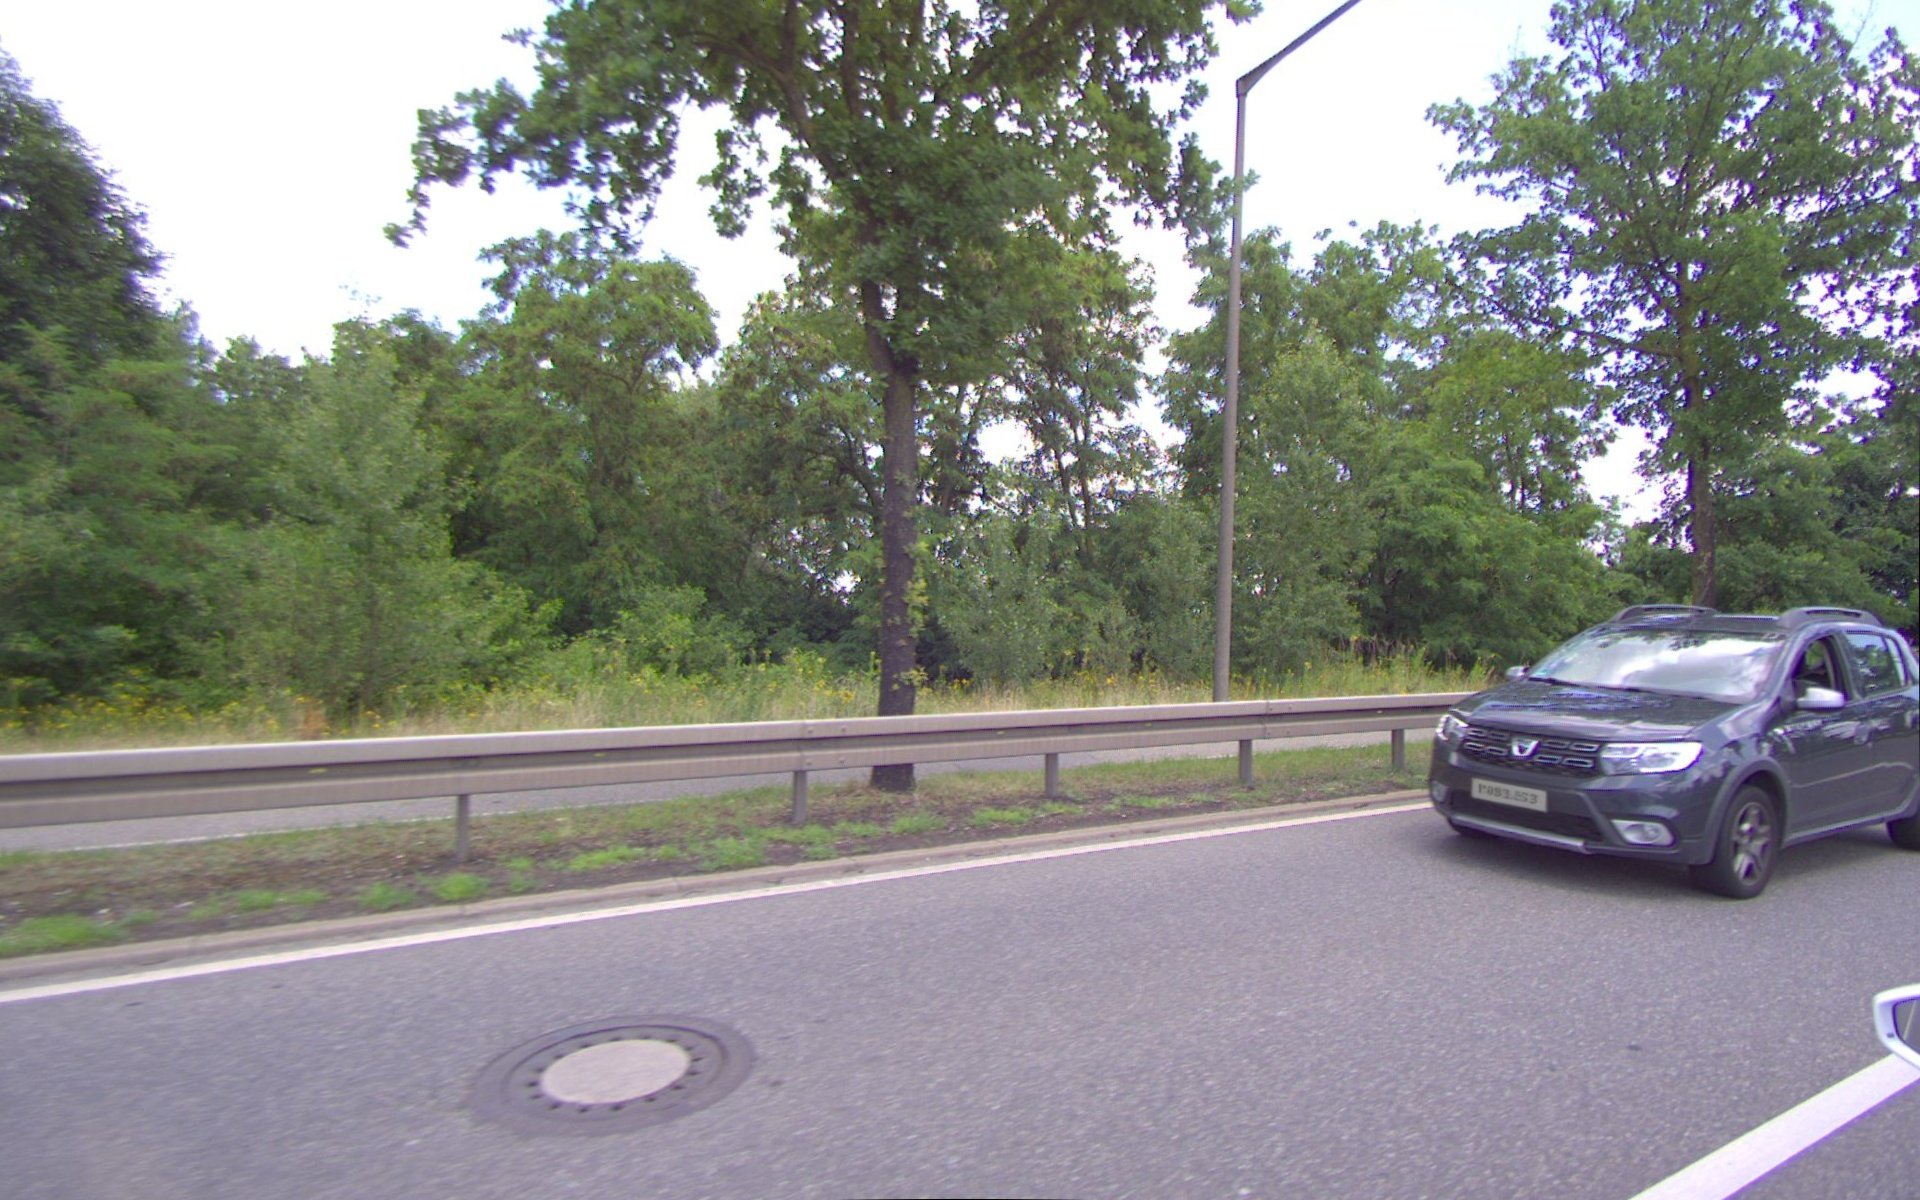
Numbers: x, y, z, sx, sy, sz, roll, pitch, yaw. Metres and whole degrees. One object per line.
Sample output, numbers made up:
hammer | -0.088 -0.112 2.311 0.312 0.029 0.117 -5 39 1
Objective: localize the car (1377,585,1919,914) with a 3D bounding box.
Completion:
car | 4.941 0.777 6.744 4.107 1.628 1.773 1 0 -29
